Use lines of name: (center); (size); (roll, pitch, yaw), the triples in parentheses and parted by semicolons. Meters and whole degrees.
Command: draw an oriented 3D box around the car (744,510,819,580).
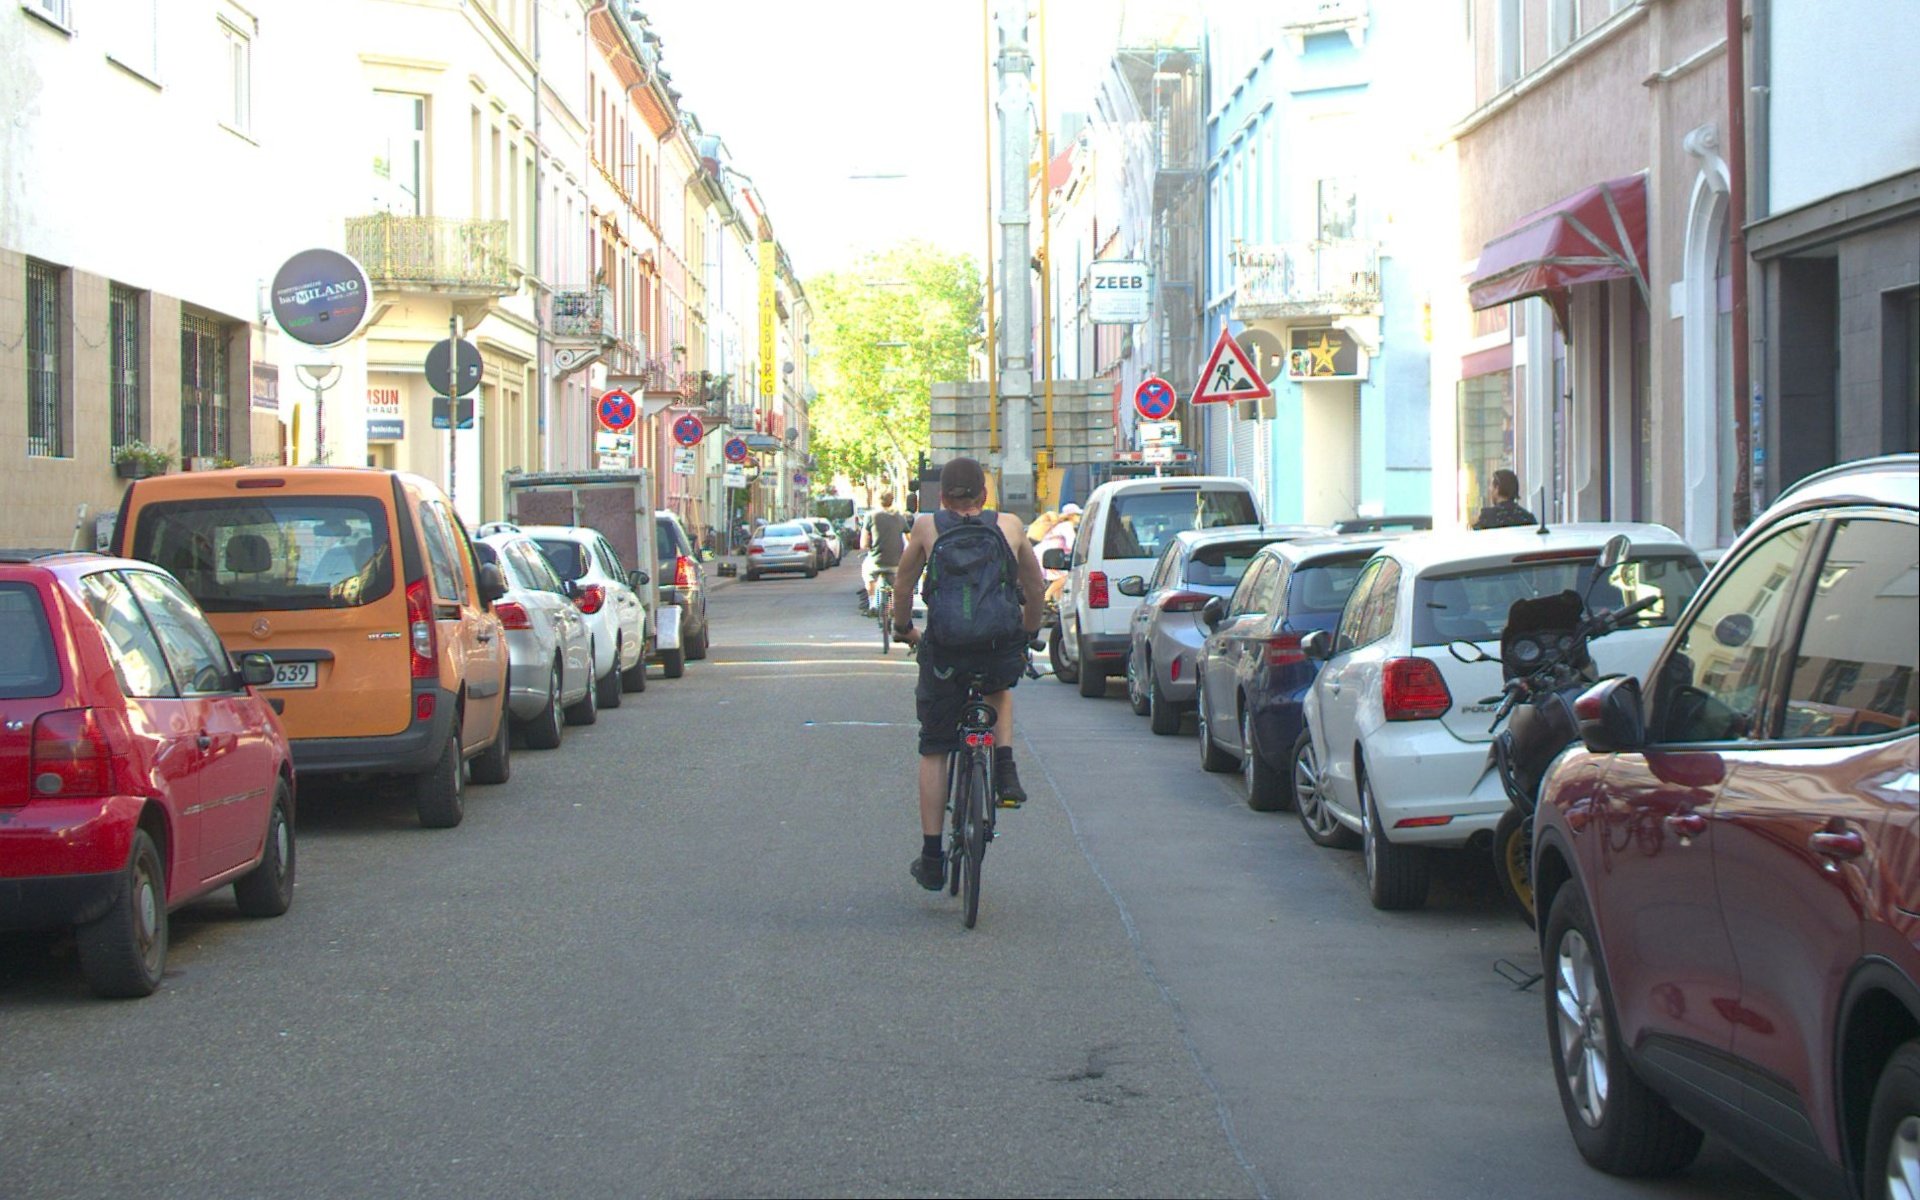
car: (-4.480, -1.389, 86.714); (1.750, 1.678, 3.796); (-1, 1, -1)

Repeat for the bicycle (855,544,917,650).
bicycle: (-0.810, -0.049, 37.617); (0.648, 1.125, 2.136); (1, 1, -1)

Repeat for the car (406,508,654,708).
car: (-3.541, 0.033, 28.856); (1.653, 1.532, 3.635); (-1, 1, -1)

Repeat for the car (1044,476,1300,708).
car: (1.803, -0.098, 30.365); (1.750, 1.872, 3.973); (-2, 1, -3)

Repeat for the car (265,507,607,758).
car: (-3.522, 0.167, 23.824); (1.750, 1.532, 4.319); (-1, 1, -1)

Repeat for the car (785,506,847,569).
car: (-4.347, -1.900, 104.474); (1.750, 1.815, 3.796); (-1, 1, -1)

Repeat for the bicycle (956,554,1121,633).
bicycle: (0.961, -0.084, 42.436); (1.995, 0.955, 0.478); (0, 1, -3)

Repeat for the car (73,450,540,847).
car: (-3.347, 0.196, 18.353); (1.752, 1.810, 4.079); (-2, 1, -2)

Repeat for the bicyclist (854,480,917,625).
bicyclist: (-0.812, -0.523, 37.652); (0.671, 1.562, 0.716); (1, 1, -1)

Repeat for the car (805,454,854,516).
car: (-5.038, -4.434, 133.127); (1.750, 2.310, 3.796); (-1, 1, -1)

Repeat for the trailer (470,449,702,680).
trailer: (-3.582, -0.361, 33.523); (1.882, 2.085, 3.737); (-1, 1, -1)

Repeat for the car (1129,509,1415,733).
car: (2.218, 0.108, 25.309); (1.750, 1.481, 3.800); (-1, 1, 0)

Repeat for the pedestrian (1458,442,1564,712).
pedestrian: (4.157, -0.175, 25.968); (0.644, 2.007, 0.764); (1, 1, -1)

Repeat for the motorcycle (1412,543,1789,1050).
motorcycle: (2.042, 0.558, 11.322); (0.747, 1.485, 2.422); (1, 1, -1)

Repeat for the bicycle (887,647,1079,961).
bicycle: (0.062, 0.753, 13.423); (0.677, 1.071, 1.942); (1, 1, -1)

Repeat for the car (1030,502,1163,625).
car: (1.864, -0.520, 47.682); (1.611, 1.628, 3.610); (1, 1, -1)

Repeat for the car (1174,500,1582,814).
car: (2.247, 0.254, 19.437); (1.646, 1.470, 3.971); (-4, 1, -1)

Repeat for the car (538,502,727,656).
car: (-3.552, -0.250, 37.842); (1.750, 1.567, 3.796); (-1, 1, -1)

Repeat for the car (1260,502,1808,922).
car: (2.344, 0.390, 14.941); (1.667, 1.500, 3.816); (-3, 1, 0)

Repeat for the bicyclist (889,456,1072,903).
bicyclist: (0.066, 0.289, 13.432); (0.667, 1.671, 1.097); (1, 1, -1)

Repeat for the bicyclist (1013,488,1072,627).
bicyclist: (1.014, -0.521, 42.370); (0.681, 1.700, 0.381); (0, 1, -3)

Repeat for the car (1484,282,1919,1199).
car: (2.348, 0.333, 6.593); (1.918, 1.700, 4.367); (-1, 1, -1)

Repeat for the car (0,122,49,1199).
car: (-3.196, -0.123, 3.879); (2.343, 3.280, 7.155); (-2, 1, 0)

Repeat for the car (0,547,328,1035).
car: (-3.401, 0.597, 12.386); (1.578, 1.478, 3.565); (-3, 1, -1)

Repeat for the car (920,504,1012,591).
car: (0.090, -0.974, 63.773); (1.611, 1.555, 3.610); (1, 1, -1)
